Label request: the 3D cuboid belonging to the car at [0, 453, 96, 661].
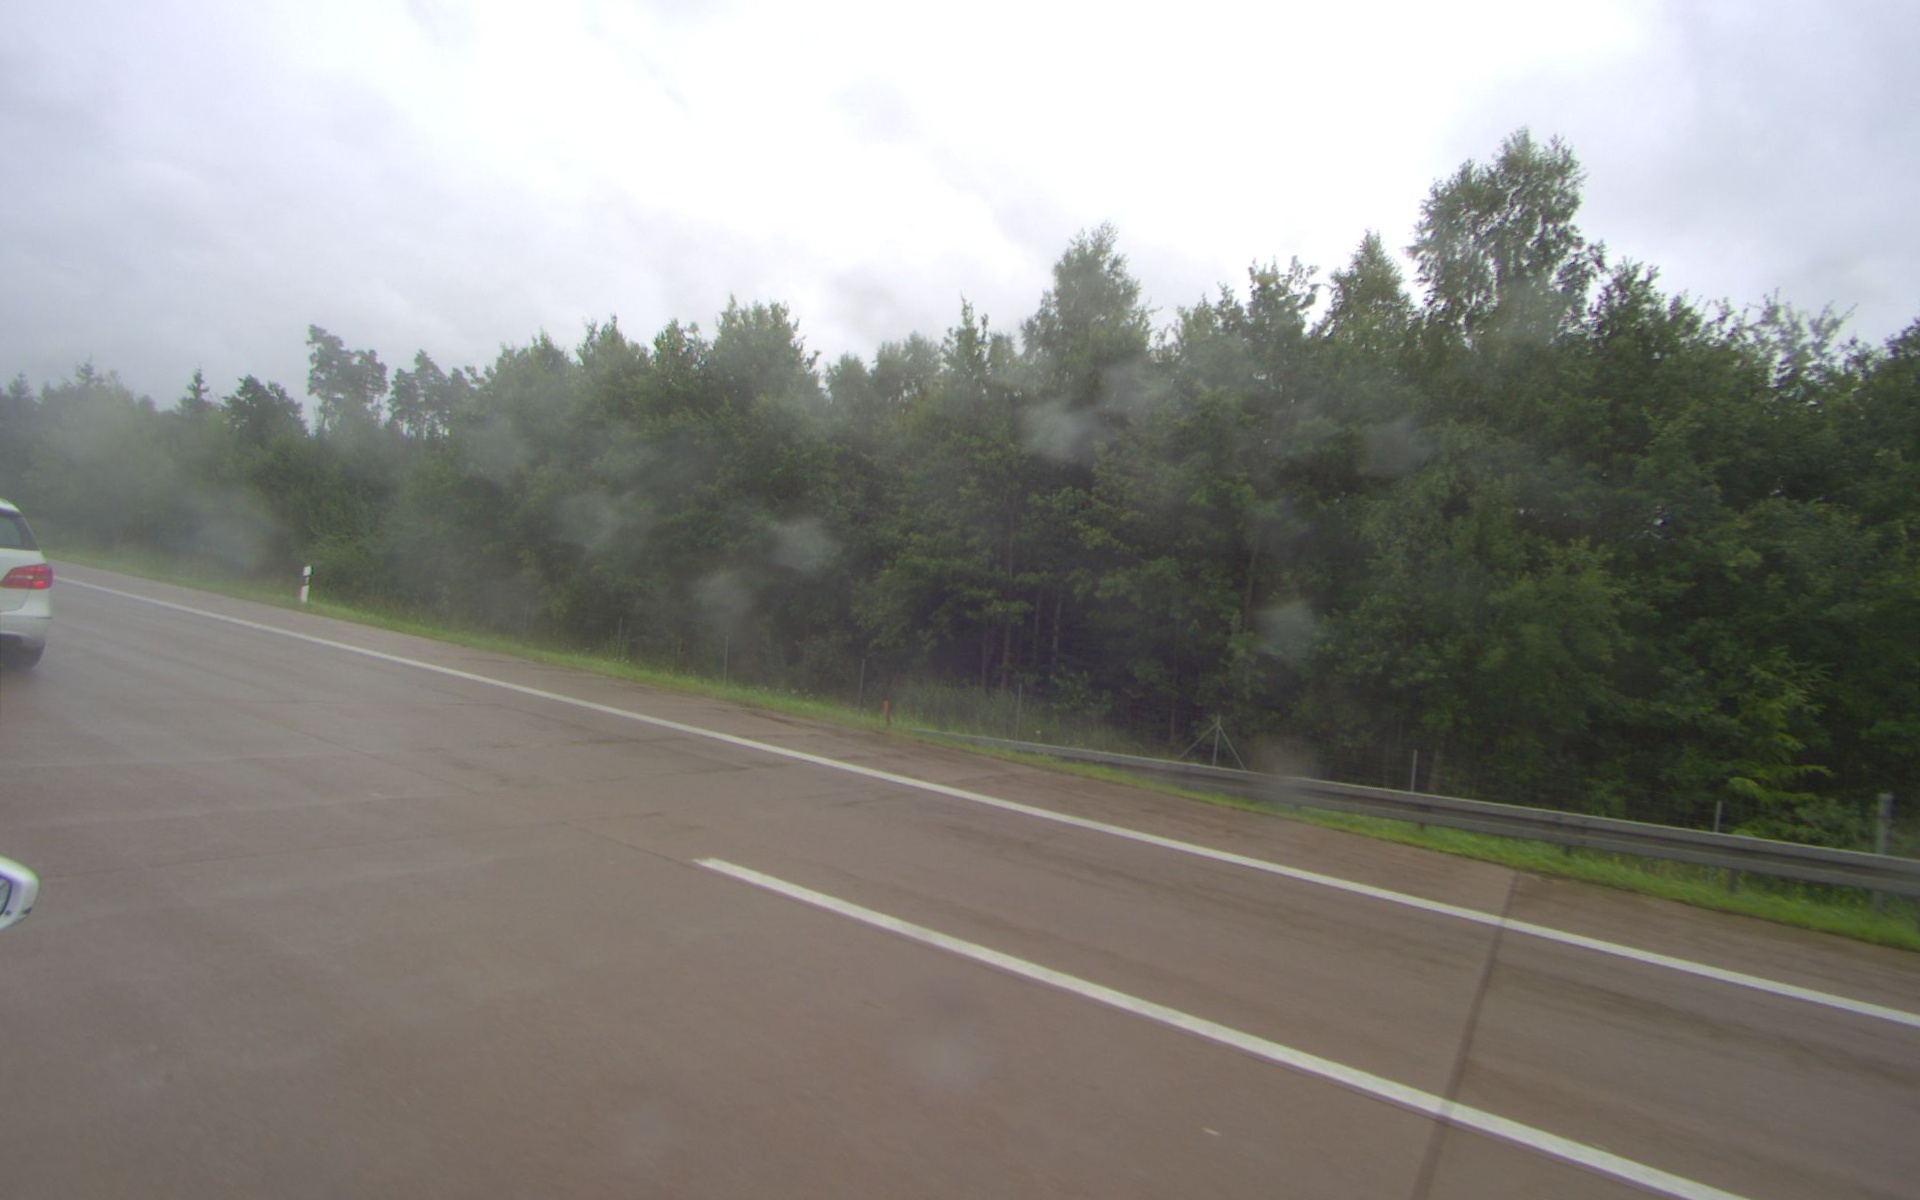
[{"bbox_3d":[-10.364,-0.632,9.547,4.665,1.748,1.812,7,-2,32],"label":"car"}]
